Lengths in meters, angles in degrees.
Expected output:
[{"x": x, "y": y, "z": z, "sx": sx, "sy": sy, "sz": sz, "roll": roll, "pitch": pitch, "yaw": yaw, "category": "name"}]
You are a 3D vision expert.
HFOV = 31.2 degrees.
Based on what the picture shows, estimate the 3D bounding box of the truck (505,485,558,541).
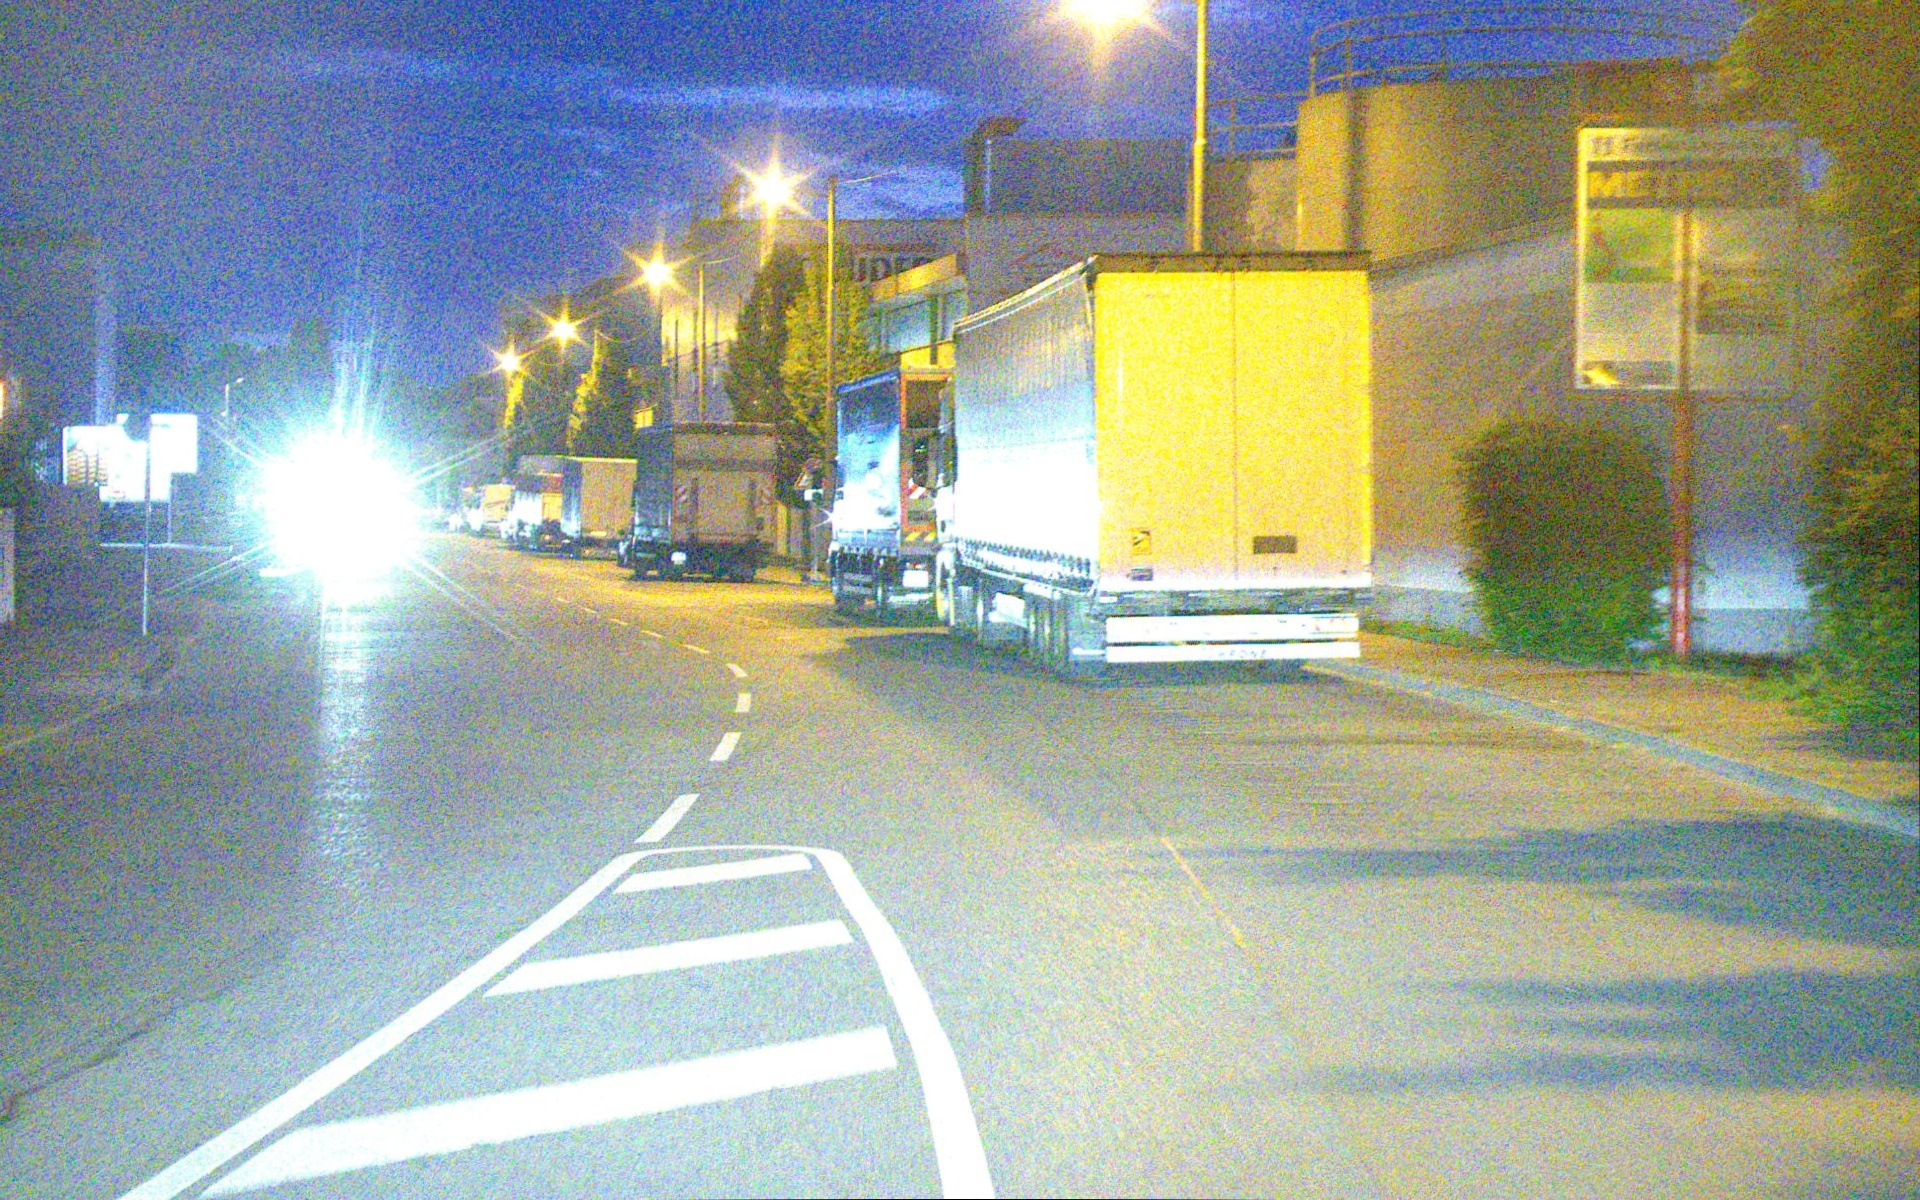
[{"x": -18.871, "y": -3.851, "z": 151.210, "sx": 1.993, "sy": 2.399, "sz": 5.294, "roll": 1, "pitch": 2, "yaw": -11, "category": "truck"}]

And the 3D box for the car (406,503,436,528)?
[{"x": -37.917, "y": -5.953, "z": 241.775, "sx": 1.993, "sy": 1.678, "sz": 4.001, "roll": 1, "pitch": 2, "yaw": -11, "category": "car"}]

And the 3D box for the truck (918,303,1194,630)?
[{"x": 1.147, "y": -1.702, "z": 45.094, "sx": 2.829, "sy": 3.969, "sz": 6.051, "roll": -1, "pitch": 1, "yaw": -6, "category": "truck"}]

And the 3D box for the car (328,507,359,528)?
[{"x": -41.044, "y": -5.486, "z": 228.708, "sx": 1.993, "sy": 1.393, "sz": 4.001, "roll": 1, "pitch": 2, "yaw": -11, "category": "car"}]

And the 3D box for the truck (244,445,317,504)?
[{"x": -43.423, "y": -7.986, "z": 219.564, "sx": 3.889, "sy": 3.609, "sz": 8.263, "roll": 0, "pitch": 2, "yaw": -16, "category": "truck"}]

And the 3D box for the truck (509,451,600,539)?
[{"x": -16.474, "y": -4.234, "z": 139.261, "sx": 3.150, "sy": 3.451, "sz": 6.675, "roll": -1, "pitch": 1, "yaw": -11, "category": "truck"}]

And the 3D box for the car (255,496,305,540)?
[{"x": -28.506, "y": -3.443, "z": 144.189, "sx": 1.993, "sy": 1.787, "sz": 4.001, "roll": 1, "pitch": 2, "yaw": -11, "category": "car"}]

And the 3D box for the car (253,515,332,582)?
[{"x": -14.406, "y": -1.124, "z": 74.188, "sx": 1.601, "sy": 1.349, "sz": 4.001, "roll": 1, "pitch": 2, "yaw": -11, "category": "car"}]

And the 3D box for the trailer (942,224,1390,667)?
[{"x": 1.835, "y": -1.555, "z": 38.028, "sx": 2.808, "sy": 3.969, "sz": 13.977, "roll": -1, "pitch": 1, "yaw": -5, "category": "trailer"}]

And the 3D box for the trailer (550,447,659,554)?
[{"x": -12.072, "y": -3.338, "z": 116.211, "sx": 2.686, "sy": 3.452, "sz": 7.812, "roll": 1, "pitch": 1, "yaw": -13, "category": "trailer"}]

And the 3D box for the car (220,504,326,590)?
[{"x": -13.758, "y": -1.076, "z": 68.725, "sx": 1.993, "sy": 1.631, "sz": 4.775, "roll": 1, "pitch": 1, "yaw": -12, "category": "car"}]

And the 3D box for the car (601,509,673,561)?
[{"x": -9.769, "y": -1.975, "z": 103.740, "sx": 1.852, "sy": 1.514, "sz": 3.819, "roll": -1, "pitch": 1, "yaw": -10, "category": "car"}]

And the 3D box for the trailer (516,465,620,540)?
[{"x": -15.144, "y": -3.725, "z": 132.251, "sx": 3.183, "sy": 2.739, "sz": 10.718, "roll": -1, "pitch": 1, "yaw": -11, "category": "trailer"}]

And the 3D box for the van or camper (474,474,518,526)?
[{"x": -23.296, "y": -5.021, "z": 172.483, "sx": 1.993, "sy": 2.572, "sz": 4.916, "roll": 1, "pitch": 2, "yaw": -10, "category": "van or camper"}]

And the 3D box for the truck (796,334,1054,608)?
[{"x": -0.746, "y": -1.994, "z": 55.194, "sx": 2.829, "sy": 3.969, "sz": 10.345, "roll": -1, "pitch": 1, "yaw": -8, "category": "truck"}]

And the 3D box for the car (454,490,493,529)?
[{"x": -27.250, "y": -5.079, "z": 192.512, "sx": 1.993, "sy": 2.138, "sz": 4.001, "roll": 1, "pitch": 2, "yaw": -11, "category": "car"}]

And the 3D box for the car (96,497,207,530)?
[{"x": -37.412, "y": -4.012, "z": 159.100, "sx": 4.613, "sy": 1.480, "sz": 2.000, "roll": 0, "pitch": 2, "yaw": -33, "category": "car"}]

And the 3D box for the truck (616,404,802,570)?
[{"x": -6.579, "y": -2.853, "z": 88.271, "sx": 3.519, "sy": 3.969, "sz": 10.345, "roll": -1, "pitch": 1, "yaw": -11, "category": "truck"}]
